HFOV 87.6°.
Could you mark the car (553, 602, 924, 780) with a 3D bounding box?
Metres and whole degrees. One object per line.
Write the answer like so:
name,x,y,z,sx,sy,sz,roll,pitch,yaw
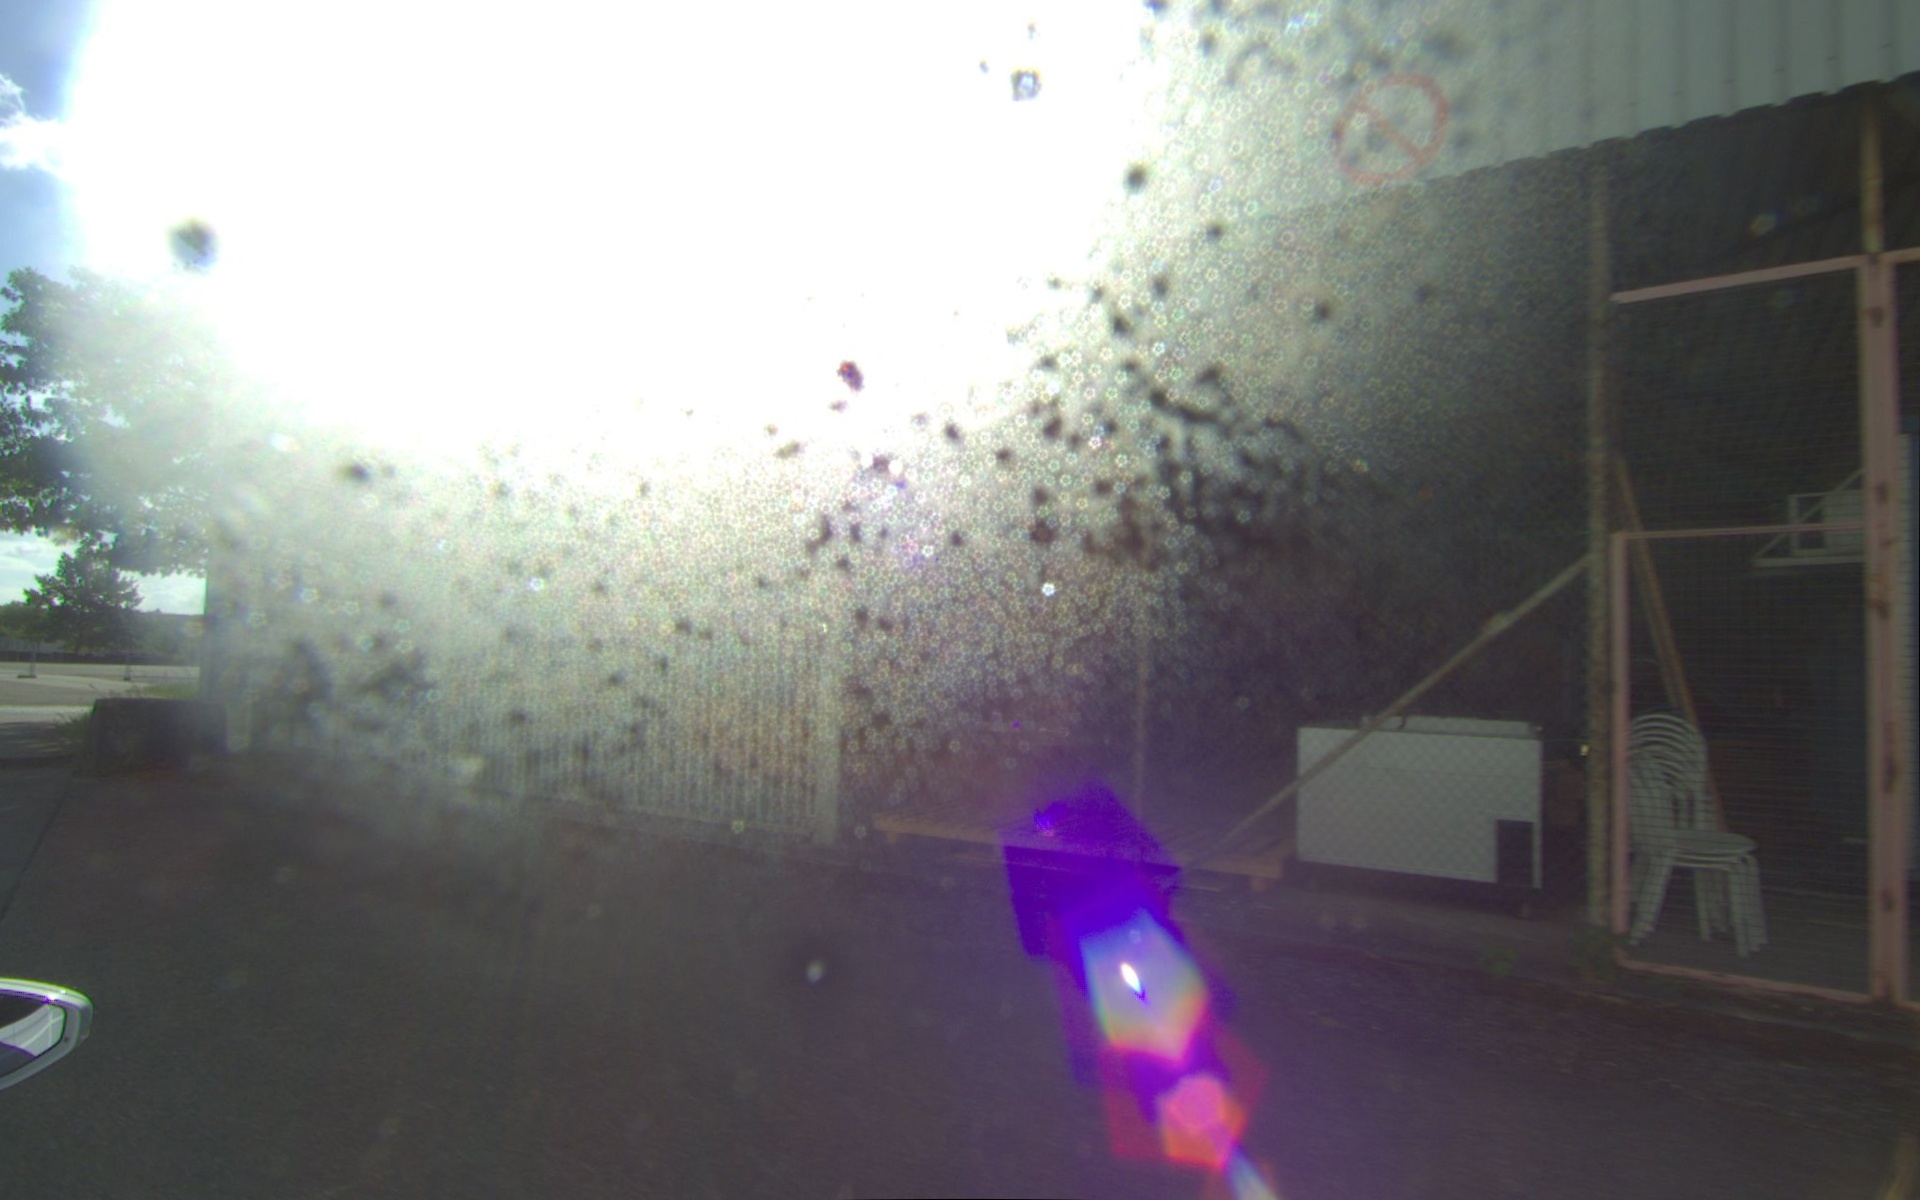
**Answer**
car,-2.625,1.164,13.494,1.968,1.899,5.240,0,-4,27
